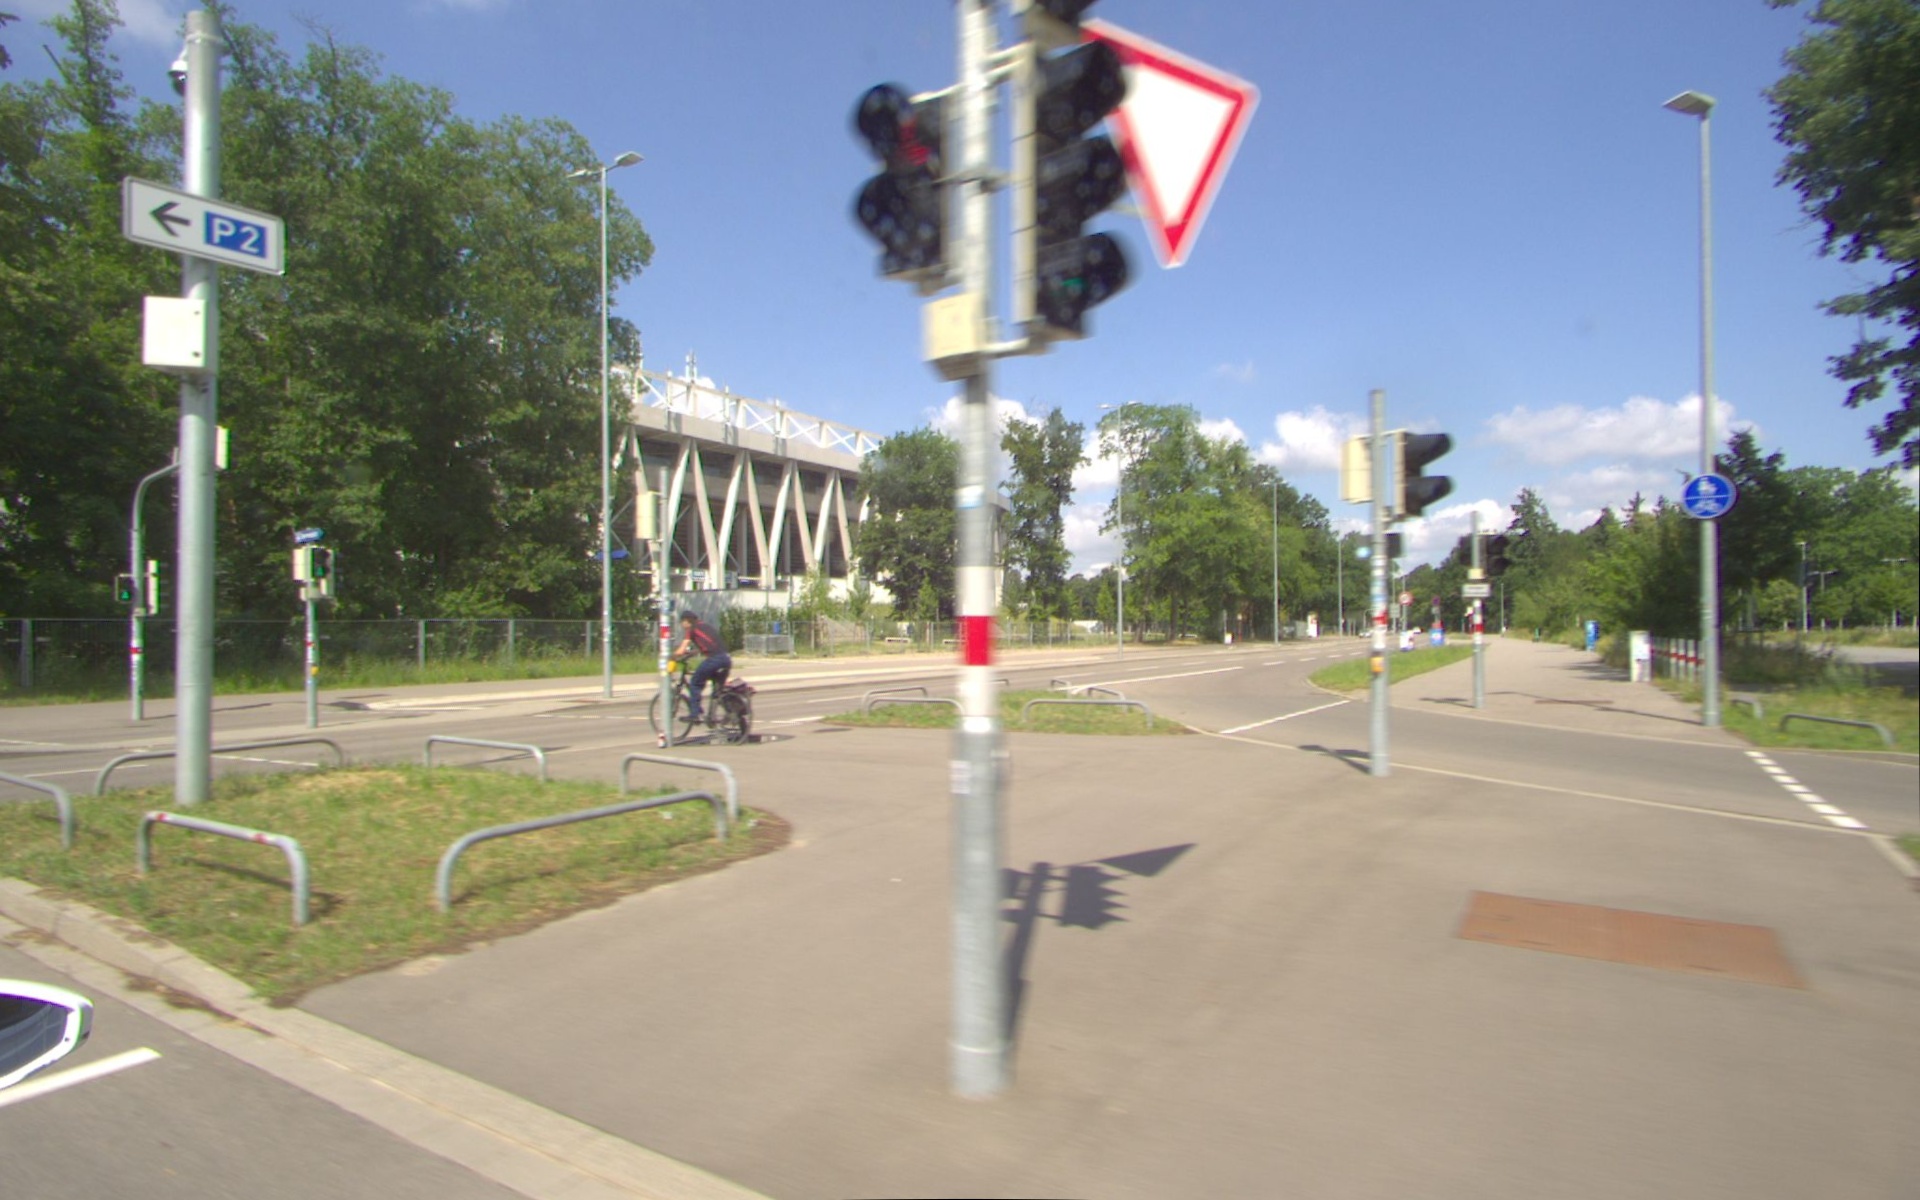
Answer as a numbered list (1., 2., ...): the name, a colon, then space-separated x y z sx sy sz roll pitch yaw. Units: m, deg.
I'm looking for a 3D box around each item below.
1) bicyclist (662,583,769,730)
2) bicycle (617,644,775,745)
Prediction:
1. bicyclist: -3.153 0.725 12.951 0.963 1.820 0.884 -2 -1 26
2. bicycle: -3.463 1.215 13.126 1.868 1.221 0.880 -3 -2 27
